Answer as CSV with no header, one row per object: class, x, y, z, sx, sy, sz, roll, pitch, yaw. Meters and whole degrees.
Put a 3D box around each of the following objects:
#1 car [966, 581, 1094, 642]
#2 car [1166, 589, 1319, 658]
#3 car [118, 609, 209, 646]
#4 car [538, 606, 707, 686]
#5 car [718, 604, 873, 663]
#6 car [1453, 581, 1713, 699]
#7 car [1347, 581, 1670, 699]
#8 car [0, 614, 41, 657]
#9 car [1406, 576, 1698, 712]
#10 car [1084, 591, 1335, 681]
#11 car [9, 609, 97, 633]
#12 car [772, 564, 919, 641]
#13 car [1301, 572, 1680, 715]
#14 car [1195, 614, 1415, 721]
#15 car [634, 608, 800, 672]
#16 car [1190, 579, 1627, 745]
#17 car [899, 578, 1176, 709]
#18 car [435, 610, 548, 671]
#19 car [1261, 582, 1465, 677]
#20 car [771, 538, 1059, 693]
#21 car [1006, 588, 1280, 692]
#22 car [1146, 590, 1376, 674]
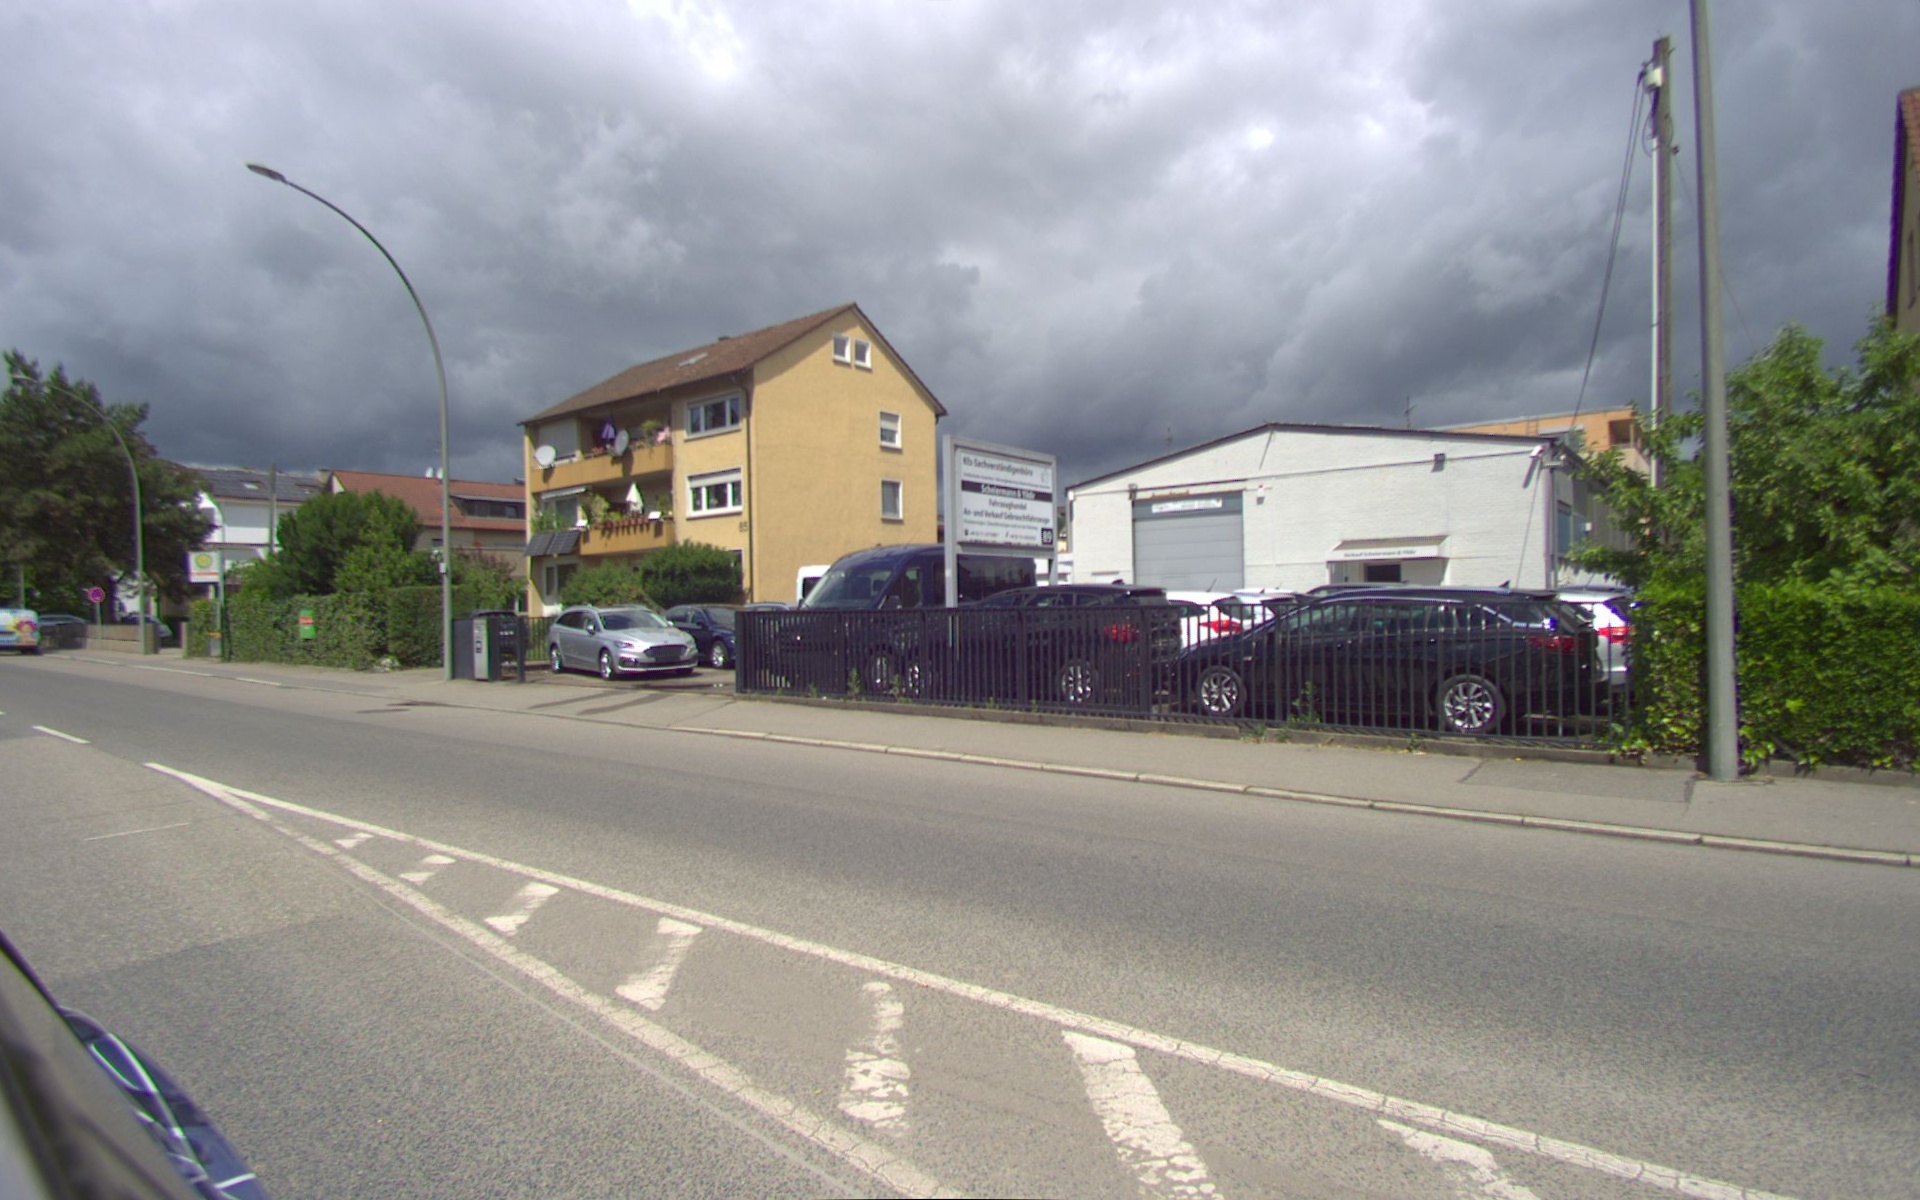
car,2.367,0.385,34.629,3.998,1.941,1.973,-1,0,41
car,8.453,0.660,30.428,3.998,1.941,1.973,-1,0,41
car,-46.366,1.579,58.946,3.954,2.029,1.995,-1,0,9
car,-7.281,0.897,21.576,1.861,1.470,4.356,-2,1,-41
car,-4.324,0.833,26.294,3.998,1.383,1.859,-1,0,41
car,11.962,0.702,19.542,3.998,2.029,1.973,-1,0,41
car,8.280,0.545,15.449,3.998,1.560,1.973,-1,0,41
car,-39.213,1.430,41.444,3.995,1.693,1.708,-1,0,39
car,10.006,0.670,17.240,3.998,2.029,1.973,-1,0,41
car,4.348,0.582,17.994,3.998,1.423,1.716,-1,0,41
car,-68.433,1.534,76.423,2.216,1.691,4.676,-1,0,39
car,-3.299,0.080,28.726,3.998,2.029,1.973,-1,0,41
car,6.739,0.487,13.063,3.998,1.552,1.973,-1,0,41
car,7.292,1.334,21.564,3.998,2.029,1.973,-1,0,41
car,-5.792,0.895,23.896,3.998,1.352,1.861,-1,0,41
car,4.803,0.572,11.129,4.040,1.494,1.840,-1,0,40
car,1.040,0.555,14.502,3.619,1.633,1.790,-1,0,41
car,-14.082,1.162,30.382,3.520,1.678,1.807,-1,0,41
car,9.381,0.642,23.702,3.998,2.029,1.973,-1,0,41
car,-0.645,0.221,18.360,2.104,2.402,5.293,-1,0,42
car,2.865,0.578,16.319,3.998,1.470,1.795,-1,0,41
car,5.873,0.587,19.988,3.998,1.498,1.742,-1,0,41
